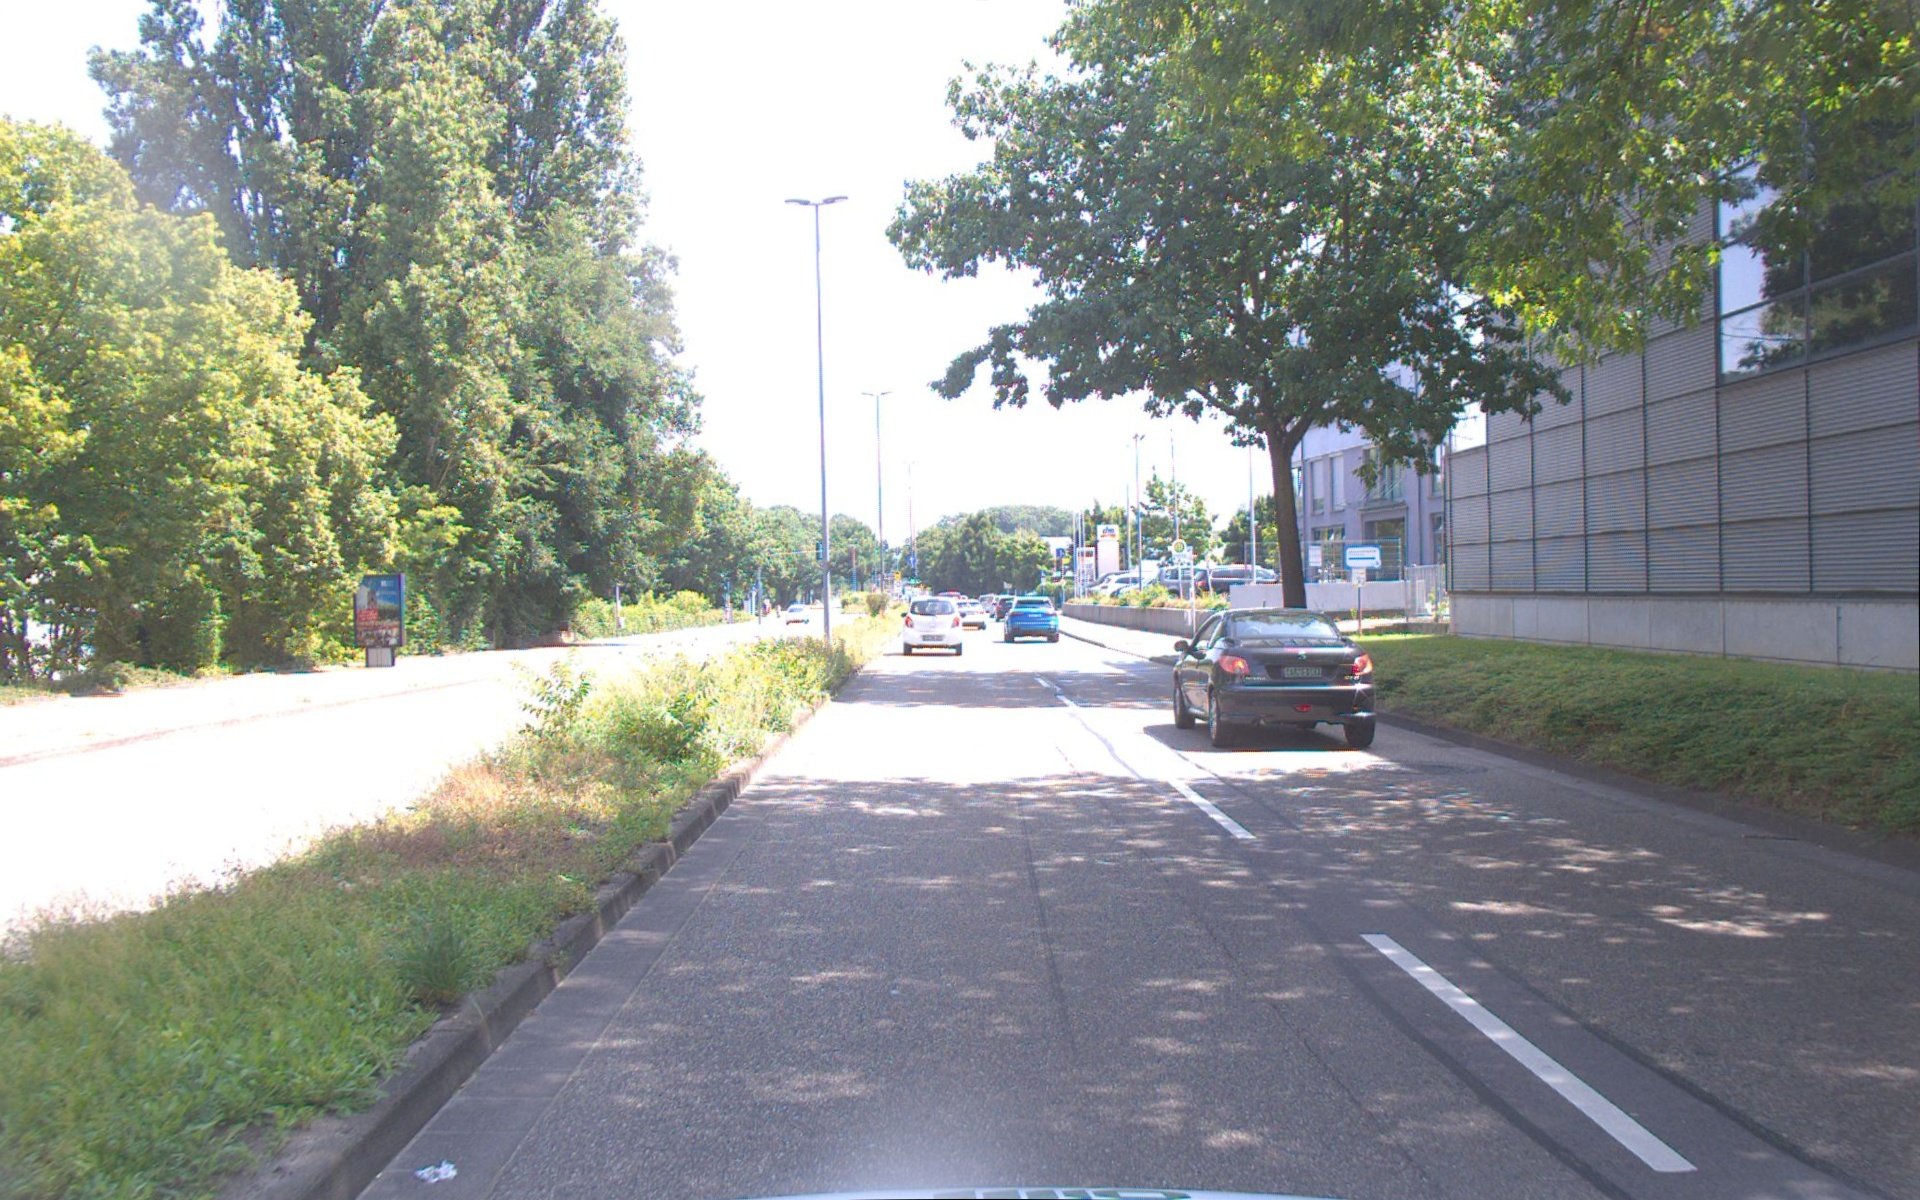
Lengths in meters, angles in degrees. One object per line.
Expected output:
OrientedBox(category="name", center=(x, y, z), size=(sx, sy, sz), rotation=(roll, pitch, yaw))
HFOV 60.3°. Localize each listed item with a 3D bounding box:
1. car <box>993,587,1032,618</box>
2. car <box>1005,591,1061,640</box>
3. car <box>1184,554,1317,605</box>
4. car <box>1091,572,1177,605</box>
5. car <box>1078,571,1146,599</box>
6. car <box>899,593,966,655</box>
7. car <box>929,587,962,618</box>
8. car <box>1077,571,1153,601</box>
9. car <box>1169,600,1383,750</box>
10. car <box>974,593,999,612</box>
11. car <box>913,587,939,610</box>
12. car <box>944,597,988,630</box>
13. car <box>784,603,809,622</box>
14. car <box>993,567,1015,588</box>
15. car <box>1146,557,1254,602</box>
OrientedBox(category="car", center=(2.965, 0.137, 94.567), size=(1.953, 1.668, 3.999), rotation=(-2, 0, -1))
OrientedBox(category="car", center=(2.547, 0.518, 58.303), size=(1.790, 1.607, 3.605), rotation=(-2, 1, 0))
OrientedBox(category="car", center=(10.622, -0.739, 60.687), size=(4.409, 1.610, 1.999), rotation=(-3, 0, -2))
OrientedBox(category="car", center=(9.585, -0.622, 91.317), size=(4.443, 1.571, 1.999), rotation=(-3, 0, -2))
OrientedBox(category="car", center=(9.416, -0.928, 102.639), size=(3.908, 1.571, 1.999), rotation=(-3, 0, -3))
OrientedBox(category="car", center=(-0.708, 0.614, 44.790), size=(1.712, 1.546, 3.746), rotation=(-1, 1, 0))
OrientedBox(category="car", center=(-0.904, 0.156, 101.136), size=(1.741, 1.770, 3.997), rotation=(-2, 0, -4))
OrientedBox(category="car", center=(9.341, -0.855, 99.794), size=(4.260, 1.571, 1.999), rotation=(-3, 0, -3))
OrientedBox(category="car", center=(3.284, 0.723, 17.775), size=(1.594, 1.388, 3.605), rotation=(0, 1, 0))
OrientedBox(category="car", center=(2.232, 0.239, 140.874), size=(1.953, 1.534, 3.999), rotation=(-2, 0, -2))
OrientedBox(category="car", center=(-2.717, -0.163, 131.524), size=(1.784, 1.690, 3.996), rotation=(-2, 1, -5))
OrientedBox(category="car", center=(0.262, 0.623, 78.989), size=(1.953, 1.467, 3.999), rotation=(-2, 0, -2))
OrientedBox(category="car", center=(-13.034, 0.974, 132.138), size=(1.701, 1.437, 4.369), rotation=(-2, 0, -3))
OrientedBox(category="car", center=(4.543, -2.331, 170.921), size=(1.735, 2.048, 3.987), rotation=(-2, 1, -4))
OrientedBox(category="car", center=(10.027, -0.863, 69.410), size=(4.142, 1.676, 1.999), rotation=(-3, 0, -2))
